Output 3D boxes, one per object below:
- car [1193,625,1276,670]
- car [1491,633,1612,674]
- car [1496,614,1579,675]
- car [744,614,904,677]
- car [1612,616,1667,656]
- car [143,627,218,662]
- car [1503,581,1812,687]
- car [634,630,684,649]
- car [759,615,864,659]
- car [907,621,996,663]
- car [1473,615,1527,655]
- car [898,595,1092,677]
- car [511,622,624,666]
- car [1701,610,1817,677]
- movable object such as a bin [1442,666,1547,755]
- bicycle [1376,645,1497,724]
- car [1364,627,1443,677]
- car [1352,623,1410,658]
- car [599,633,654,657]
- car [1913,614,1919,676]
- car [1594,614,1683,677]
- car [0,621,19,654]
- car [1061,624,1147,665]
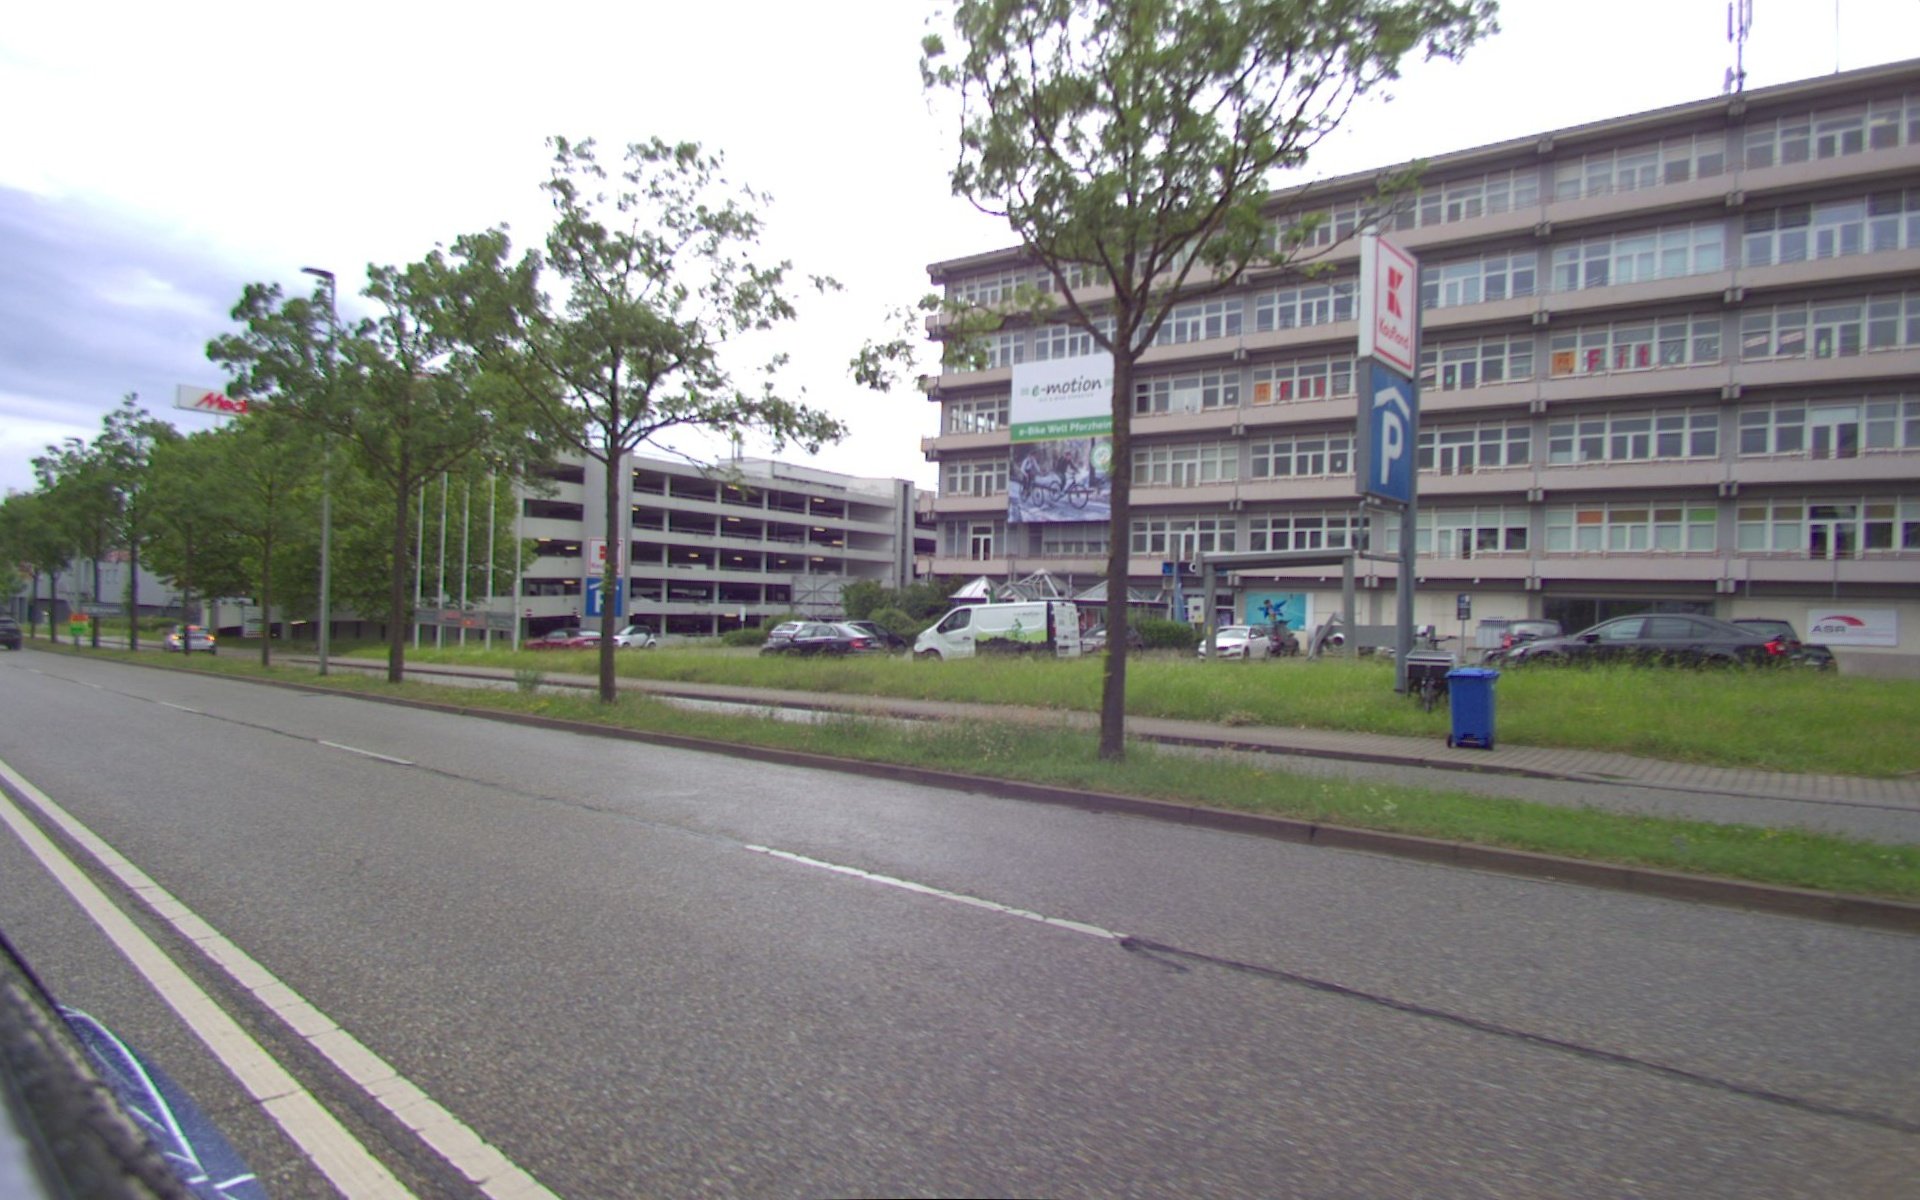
[{"bbox_3d":[10.514,1.778,38.586,1.842,1.522,4.242,-2,-1,32],"label":"car"},{"bbox_3d":[23.393,2.110,40.062,3.990,1.522,1.779,-3,-2,35],"label":"car"},{"bbox_3d":[16.270,1.214,28.429,1.813,1.522,4.077,-2,-1,32],"label":"car"},{"bbox_3d":[-4.260,1.403,31.244,4.938,1.775,2.020,-3,-2,38],"label":"car"},{"bbox_3d":[28.595,1.495,42.610,1.795,1.522,3.954,-3,-1,34],"label":"car"},{"bbox_3d":[-36.994,2.103,47.989,4.572,1.565,1.848,-1,-4,41],"label":"car"},{"bbox_3d":[13.184,0.651,19.347,4.602,1.787,2.117,-3,-2,39],"label":"car"},{"bbox_3d":[-25.527,3.324,85.912,3.787,1.473,1.754,-1,1,-3],"label":"car"},{"bbox_3d":[-6.313,1.558,43.567,1.961,1.759,4.563,-2,-1,32],"label":"car"},{"bbox_3d":[-0.342,1.871,46.020,1.894,1.759,4.464,-2,-1,32],"label":"car"},{"bbox_3d":[25.505,1.620,47.741,1.795,1.745,3.954,-3,-1,34],"label":"car"},{"bbox_3d":[0.947,1.032,28.626,5.105,2.112,2.098,-2,-2,32],"label":"car"},{"bbox_3d":[-15.460,1.743,39.771,4.701,1.621,1.916,-3,-2,36],"label":"car"},{"bbox_3d":[20.053,1.043,25.558,1.813,1.522,4.158,-2,-1,32],"label":"car"},{"bbox_3d":[7.171,1.452,13.594,1.085,1.087,0.810,-1,-2,41],"label":"movable object such as a bin"},{"bbox_3d":[7.516,1.287,15.917,1.094,0.942,2.053,0,3,45],"label":"bicycle"},{"bbox_3d":[15.425,1.768,35.079,1.842,1.522,4.242,-2,-1,32],"label":"car"},{"bbox_3d":[20.290,1.922,48.644,1.842,1.522,4.242,-2,-1,32],"label":"car"},{"bbox_3d":[-19.460,2.648,59.165,1.604,1.376,2.676,-2,-4,30],"label":"car"},{"bbox_3d":[23.532,1.073,22.997,1.895,1.522,4.158,-2,-1,32],"label":"car"},{"bbox_3d":[18.107,1.183,27.156,1.813,1.522,4.077,-2,-1,32],"label":"car"},{"bbox_3d":[-48.860,1.845,50.889,4.435,1.626,1.768,-1,-4,42],"label":"car"},{"bbox_3d":[5.988,1.795,41.673,1.940,1.522,4.145,-2,-1,32],"label":"car"}]
